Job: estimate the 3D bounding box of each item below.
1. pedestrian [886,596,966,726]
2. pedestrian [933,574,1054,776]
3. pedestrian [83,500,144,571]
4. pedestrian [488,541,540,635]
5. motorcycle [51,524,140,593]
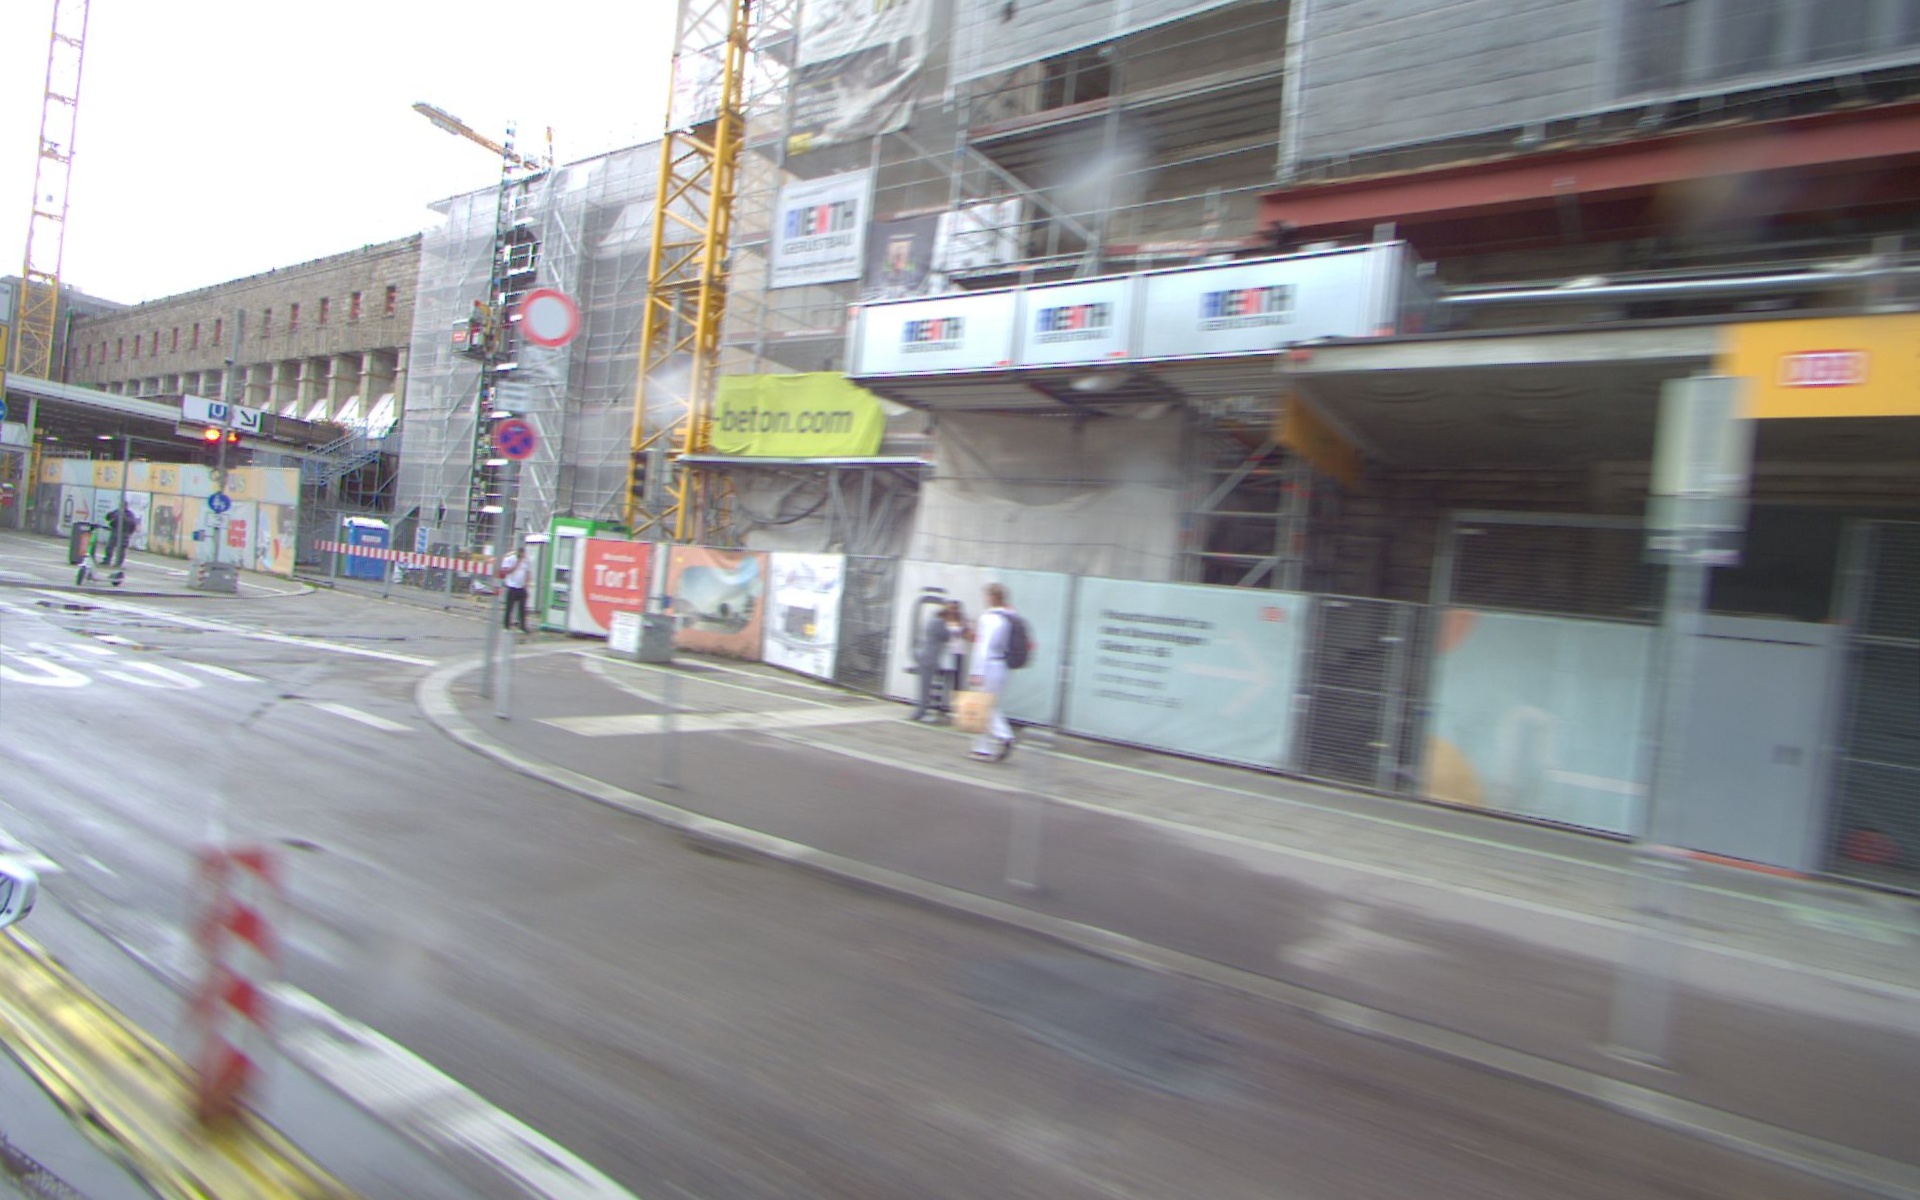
[{"bbox_3d":[-0.434,0.765,12.926,0.655,1.561,0.650,7,3,35],"label":"pedestrian"},{"bbox_3d":[0.339,0.723,10.100,0.797,1.873,0.722,7,3,34],"label":"pedestrian"},{"bbox_3d":[-21.625,-1.630,25.720,0.899,1.655,0.822,7,0,-28],"label":"pedestrian"},{"bbox_3d":[-9.297,-0.242,20.958,0.648,1.873,0.644,7,3,34],"label":"pedestrian"},{"bbox_3d":[-16.545,-0.765,19.293,0.578,1.179,1.612,7,-2,-16],"label":"motorcycle"}]
